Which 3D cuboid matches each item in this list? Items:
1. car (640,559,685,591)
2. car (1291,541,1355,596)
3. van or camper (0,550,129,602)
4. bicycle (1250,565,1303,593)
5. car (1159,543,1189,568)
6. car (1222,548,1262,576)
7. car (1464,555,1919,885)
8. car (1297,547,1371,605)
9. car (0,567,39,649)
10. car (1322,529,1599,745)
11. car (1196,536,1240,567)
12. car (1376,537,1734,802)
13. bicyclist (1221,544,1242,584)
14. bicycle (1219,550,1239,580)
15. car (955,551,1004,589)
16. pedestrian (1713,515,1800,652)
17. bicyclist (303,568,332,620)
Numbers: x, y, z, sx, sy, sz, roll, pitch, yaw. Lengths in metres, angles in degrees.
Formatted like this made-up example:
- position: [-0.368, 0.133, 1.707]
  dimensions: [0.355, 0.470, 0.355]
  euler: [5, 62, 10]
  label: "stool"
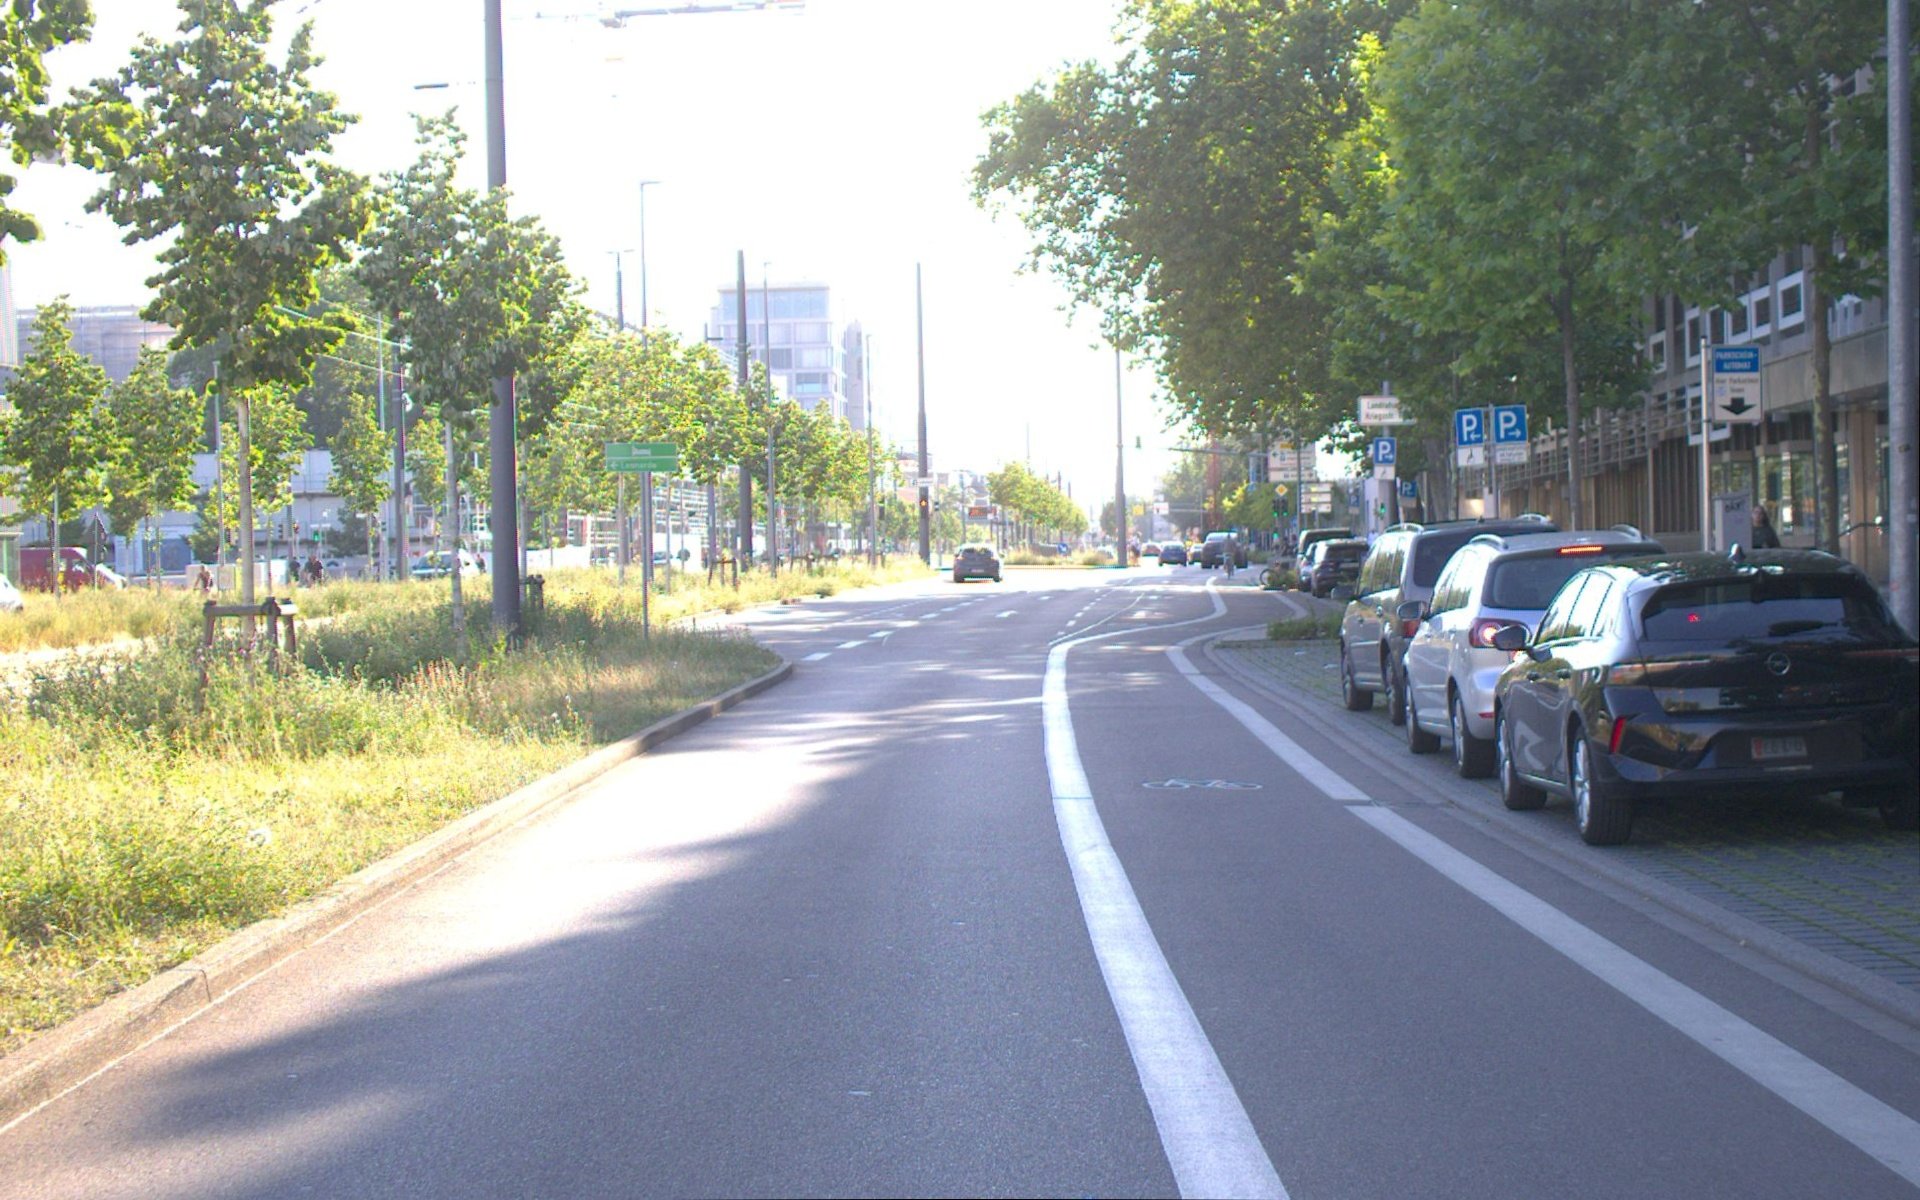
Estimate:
- position: [-17.048, -1.421, 197.124]
  dimensions: [1.994, 1.770, 4.000]
  euler: [-1, 1, 3]
  label: "car"
- position: [10.901, -0.963, 102.961]
  dimensions: [1.682, 1.509, 5.058]
  euler: [-3, 1, 8]
  label: "car"
- position: [-43.380, -1.159, 166.523]
  dimensions: [5.661, 2.406, 2.154]
  euler: [-1, 1, 5]
  label: "van or camper"
- position: [10.822, -0.723, 117.524]
  dimensions: [1.693, 0.864, 0.572]
  euler: [-3, 0, 12]
  label: "bicycle"
- position: [13.516, -2.825, 217.591]
  dimensions: [1.759, 1.480, 3.850]
  euler: [-1, 1, 2]
  label: "car"
- position: [15.292, -2.083, 186.469]
  dimensions: [1.940, 1.480, 3.925]
  euler: [-1, 1, 2]
  label: "car"
- position: [3.910, 0.541, 18.424]
  dimensions: [1.794, 1.444, 4.376]
  euler: [-3, 1, 1]
  label: "car"
- position: [9.908, -0.654, 91.209]
  dimensions: [1.706, 1.413, 4.276]
  euler: [-3, 1, 4]
  label: "car"
- position: [-20.426, 0.176, 70.234]
  dimensions: [1.994, 1.637, 4.167]
  euler: [-1, 1, 1]
  label: "car"
- position: [4.333, 0.261, 30.376]
  dimensions: [1.728, 1.682, 4.514]
  euler: [-3, 1, 0]
  label: "car"
- position: [12.598, -2.379, 168.204]
  dimensions: [1.940, 1.423, 3.925]
  euler: [-1, 1, 2]
  label: "car"
- position: [4.088, 0.412, 24.249]
  dimensions: [1.728, 1.616, 4.216]
  euler: [-3, 1, 0]
  label: "car"
- position: [11.111, -1.477, 140.737]
  dimensions: [0.800, 1.596, 0.785]
  euler: [-1, 1, 1]
  label: "bicyclist"
- position: [11.026, -1.450, 140.978]
  dimensions: [0.800, 1.200, 2.263]
  euler: [-1, 1, 4]
  label: "bicycle"
- position: [0.771, -1.175, 132.122]
  dimensions: [1.777, 1.423, 4.000]
  euler: [0, 1, 2]
  label: "car"
- position: [9.867, -0.208, 42.632]
  dimensions: [0.789, 1.643, 1.137]
  euler: [-2, 1, 2]
  label: "pedestrian"
- position: [-21.335, -0.197, 114.180]
  dimensions: [0.687, 1.702, 0.954]
  euler: [-1, 1, 3]
  label: "bicyclist"
